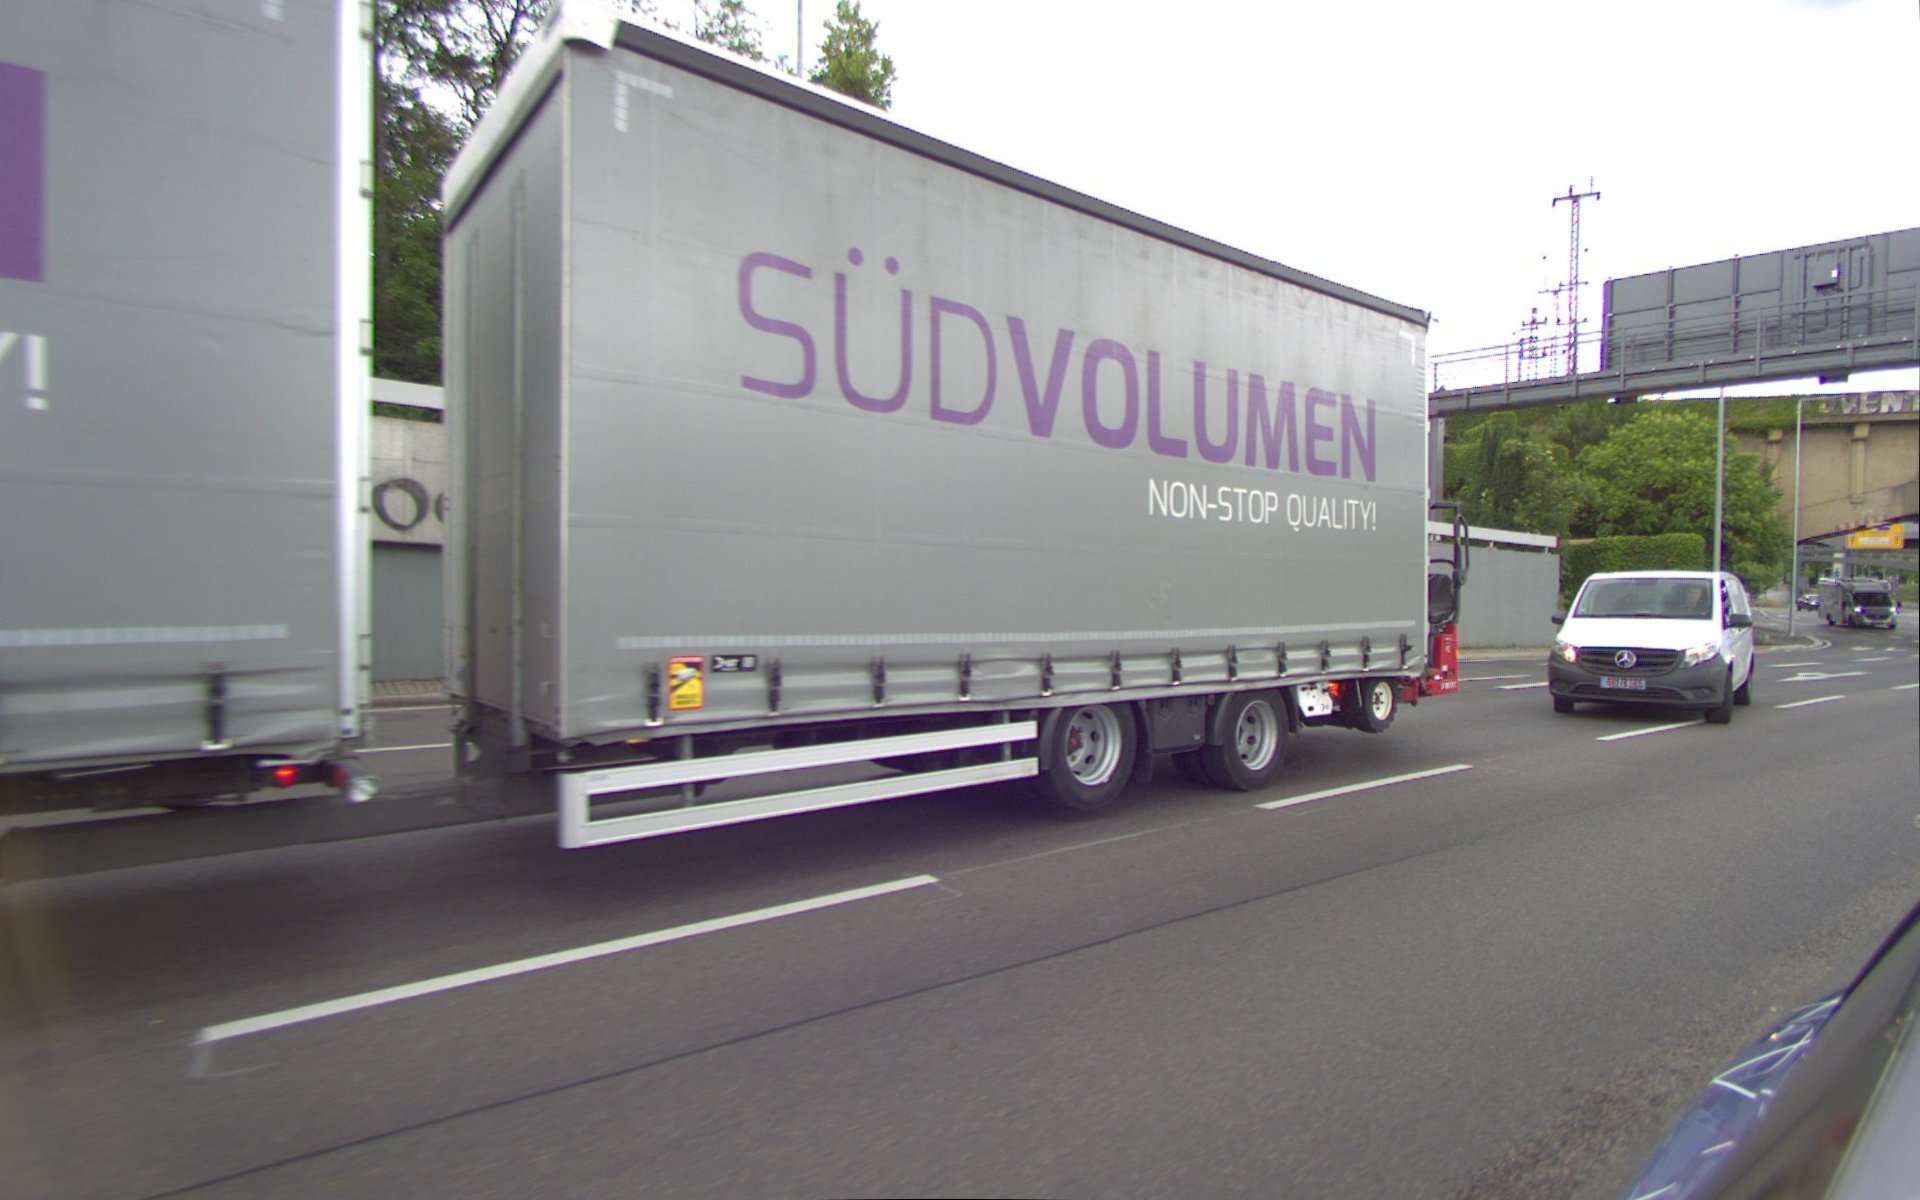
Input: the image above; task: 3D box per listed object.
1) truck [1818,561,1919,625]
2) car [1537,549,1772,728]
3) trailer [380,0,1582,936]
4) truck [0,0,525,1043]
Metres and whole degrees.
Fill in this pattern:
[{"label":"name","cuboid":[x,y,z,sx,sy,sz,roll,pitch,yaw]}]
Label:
[{"label":"truck","cuboid":[55.312,-0.418,61.873,2.553,3.613,9.023,0,0,29]},{"label":"car","cuboid":[9.723,0.421,13.966,1.992,2.015,5.120,0,0,42]},{"label":"trailer","cuboid":[1.305,-0.752,8.967,10.784,4.194,3.733,0,0,-39]},{"label":"truck","cuboid":[-7.112,-0.725,2.192,10.784,4.194,3.733,0,0,-39]}]
